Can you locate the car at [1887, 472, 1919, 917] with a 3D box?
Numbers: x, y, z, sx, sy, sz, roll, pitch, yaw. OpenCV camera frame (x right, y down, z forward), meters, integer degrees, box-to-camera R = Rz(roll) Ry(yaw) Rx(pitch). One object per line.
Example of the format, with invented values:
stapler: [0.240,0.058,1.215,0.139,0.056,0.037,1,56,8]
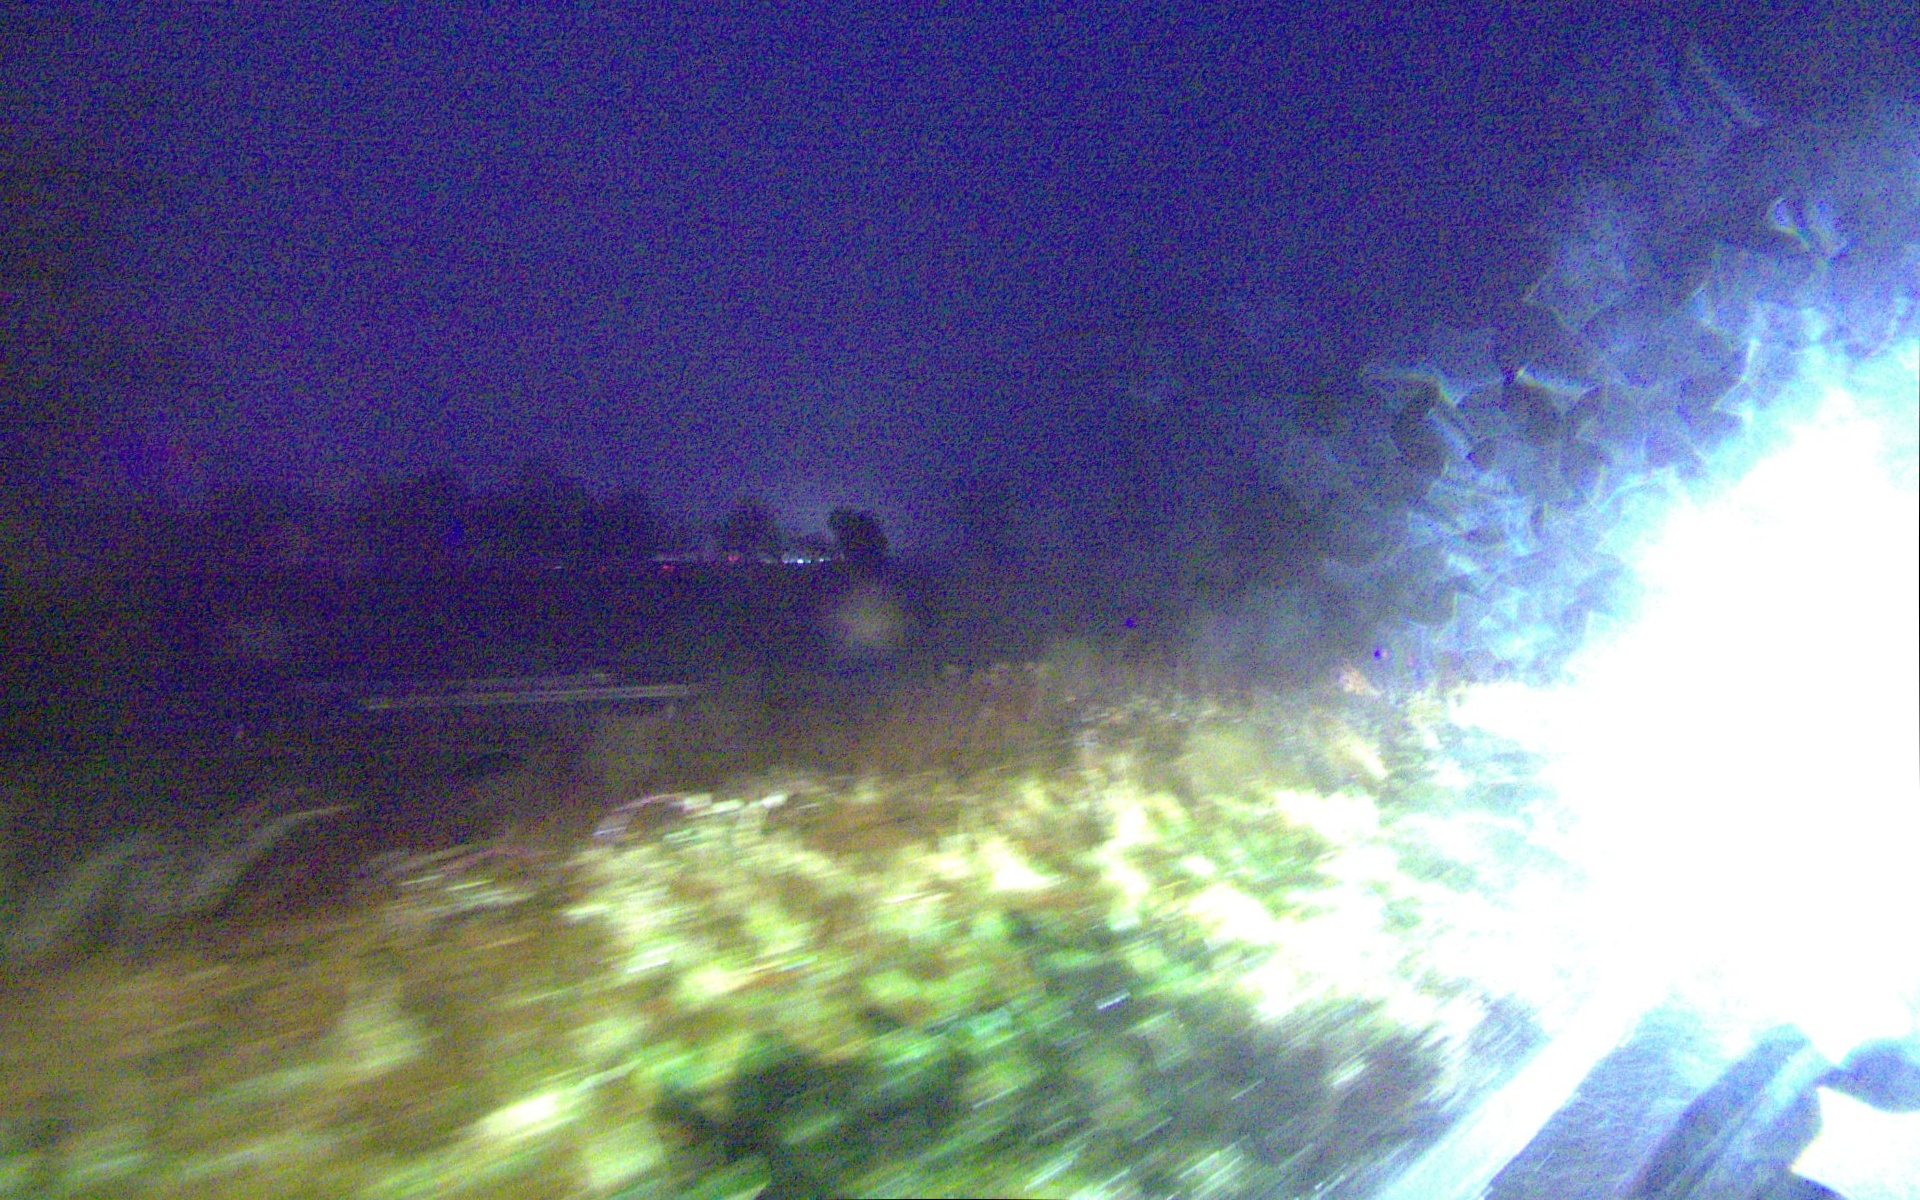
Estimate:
car: [6.353,0.358,5.274,4.298,1.949,2.000,-2,2,-44]
